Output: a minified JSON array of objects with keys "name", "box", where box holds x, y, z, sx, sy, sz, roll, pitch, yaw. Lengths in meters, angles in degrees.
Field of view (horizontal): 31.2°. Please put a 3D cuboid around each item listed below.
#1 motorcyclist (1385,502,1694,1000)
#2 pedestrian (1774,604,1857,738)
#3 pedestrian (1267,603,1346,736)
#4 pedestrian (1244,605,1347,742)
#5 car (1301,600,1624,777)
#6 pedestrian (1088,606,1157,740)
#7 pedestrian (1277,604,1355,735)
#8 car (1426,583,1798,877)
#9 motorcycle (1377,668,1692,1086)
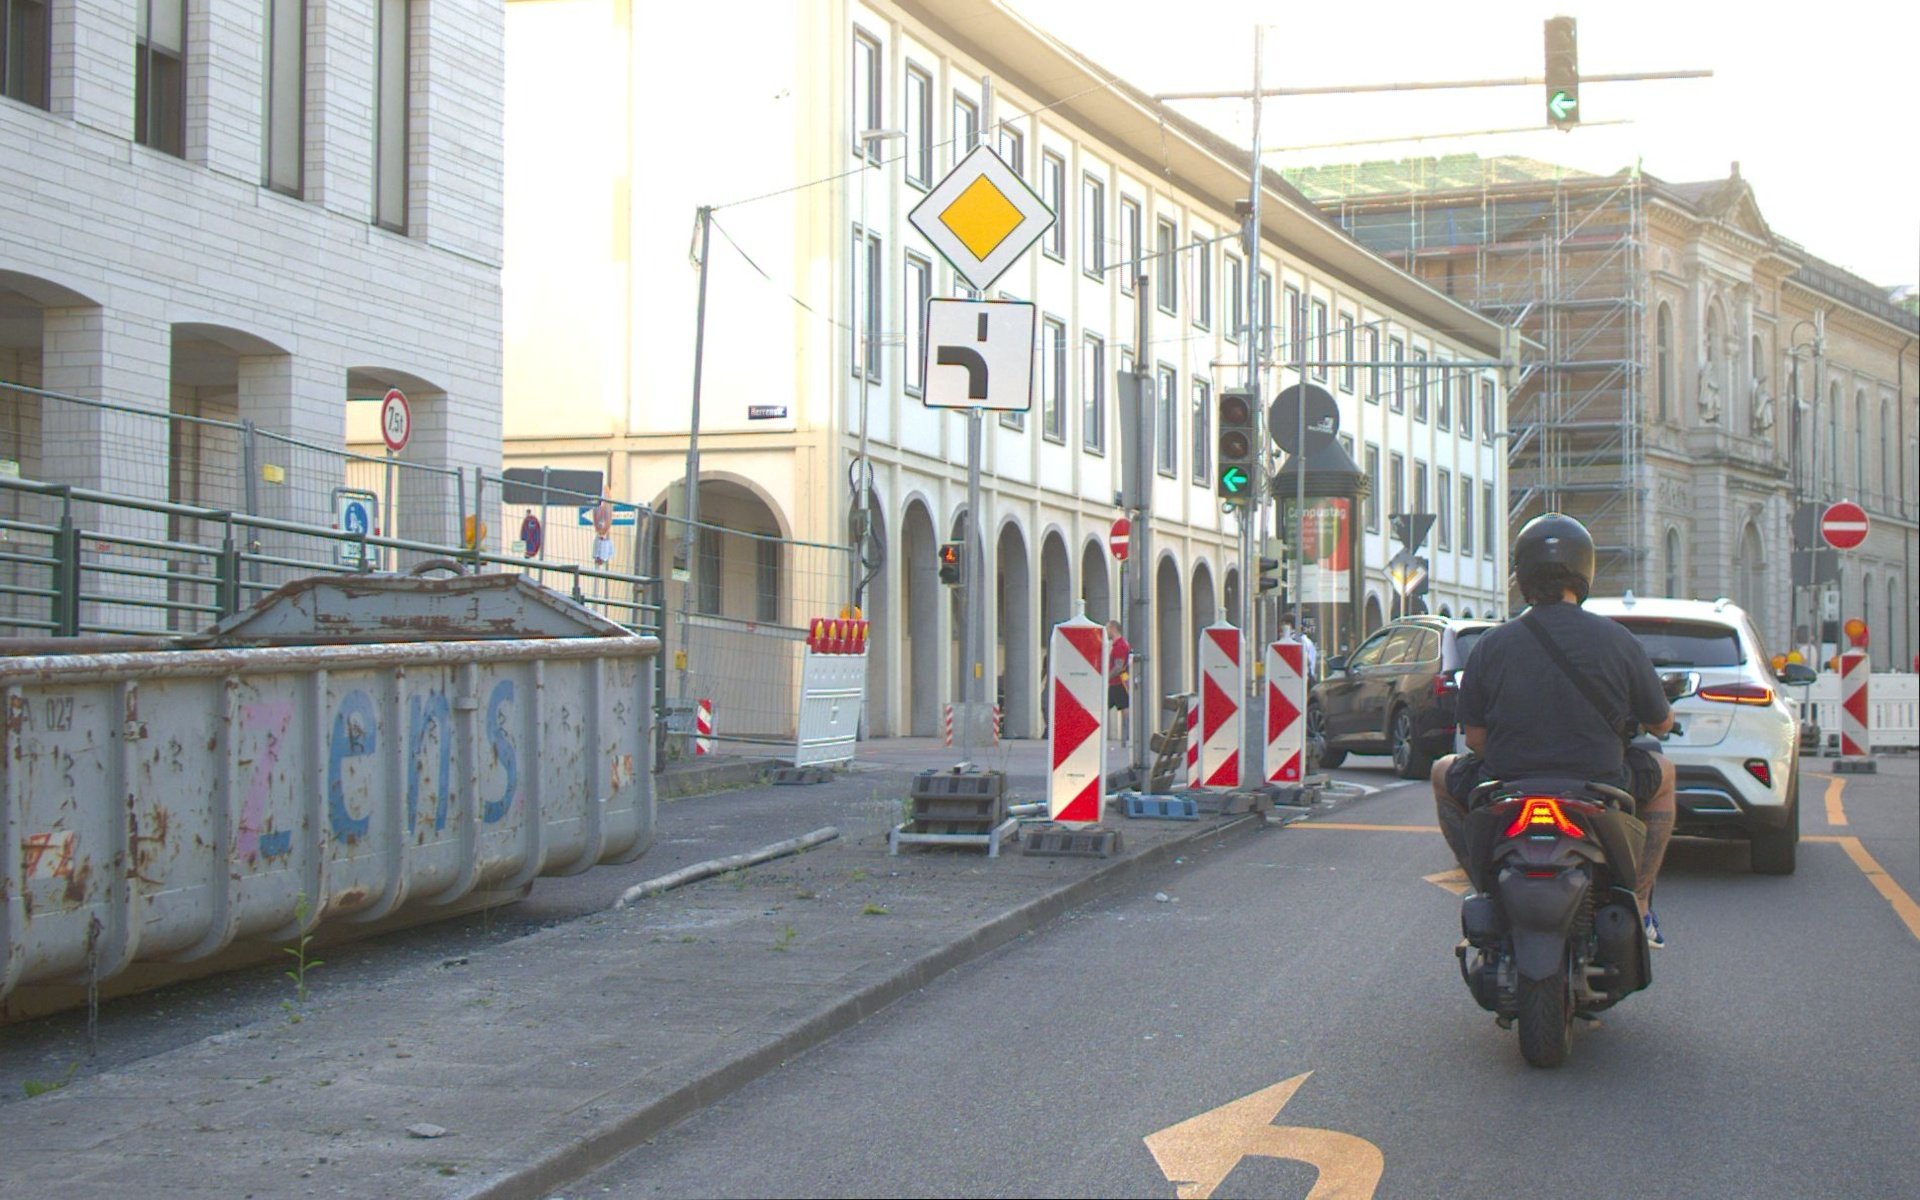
[{"name":"motorcyclist","box":[1.954,0.472,11.453,0.954,1.554,1.238,0,0,12]},{"name":"pedestrian","box":[11.264,0.949,45.254,0.975,1.723,0.797,-2,-3,16]},{"name":"pedestrian","box":[4.709,0.939,46.672,0.939,1.771,0.710,-1,1,16]},{"name":"pedestrian","box":[4.483,0.979,45.954,1.244,1.796,0.716,-1,1,16]},{"name":"car","box":[4.618,0.822,32.228,1.773,1.545,4.107,0,-1,-10]},{"name":"pedestrian","box":[2.203,0.983,46.525,0.773,1.796,0.710,-1,1,16]},{"name":"pedestrian","box":[4.919,0.955,47.452,0.939,1.771,0.710,-1,1,16]},{"name":"car","box":[3.813,0.713,19.723,1.860,1.467,3.997,1,-1,13]},{"name":"motorcycle","box":[1.973,0.844,11.490,0.906,1.179,2.577,0,0,12]}]
